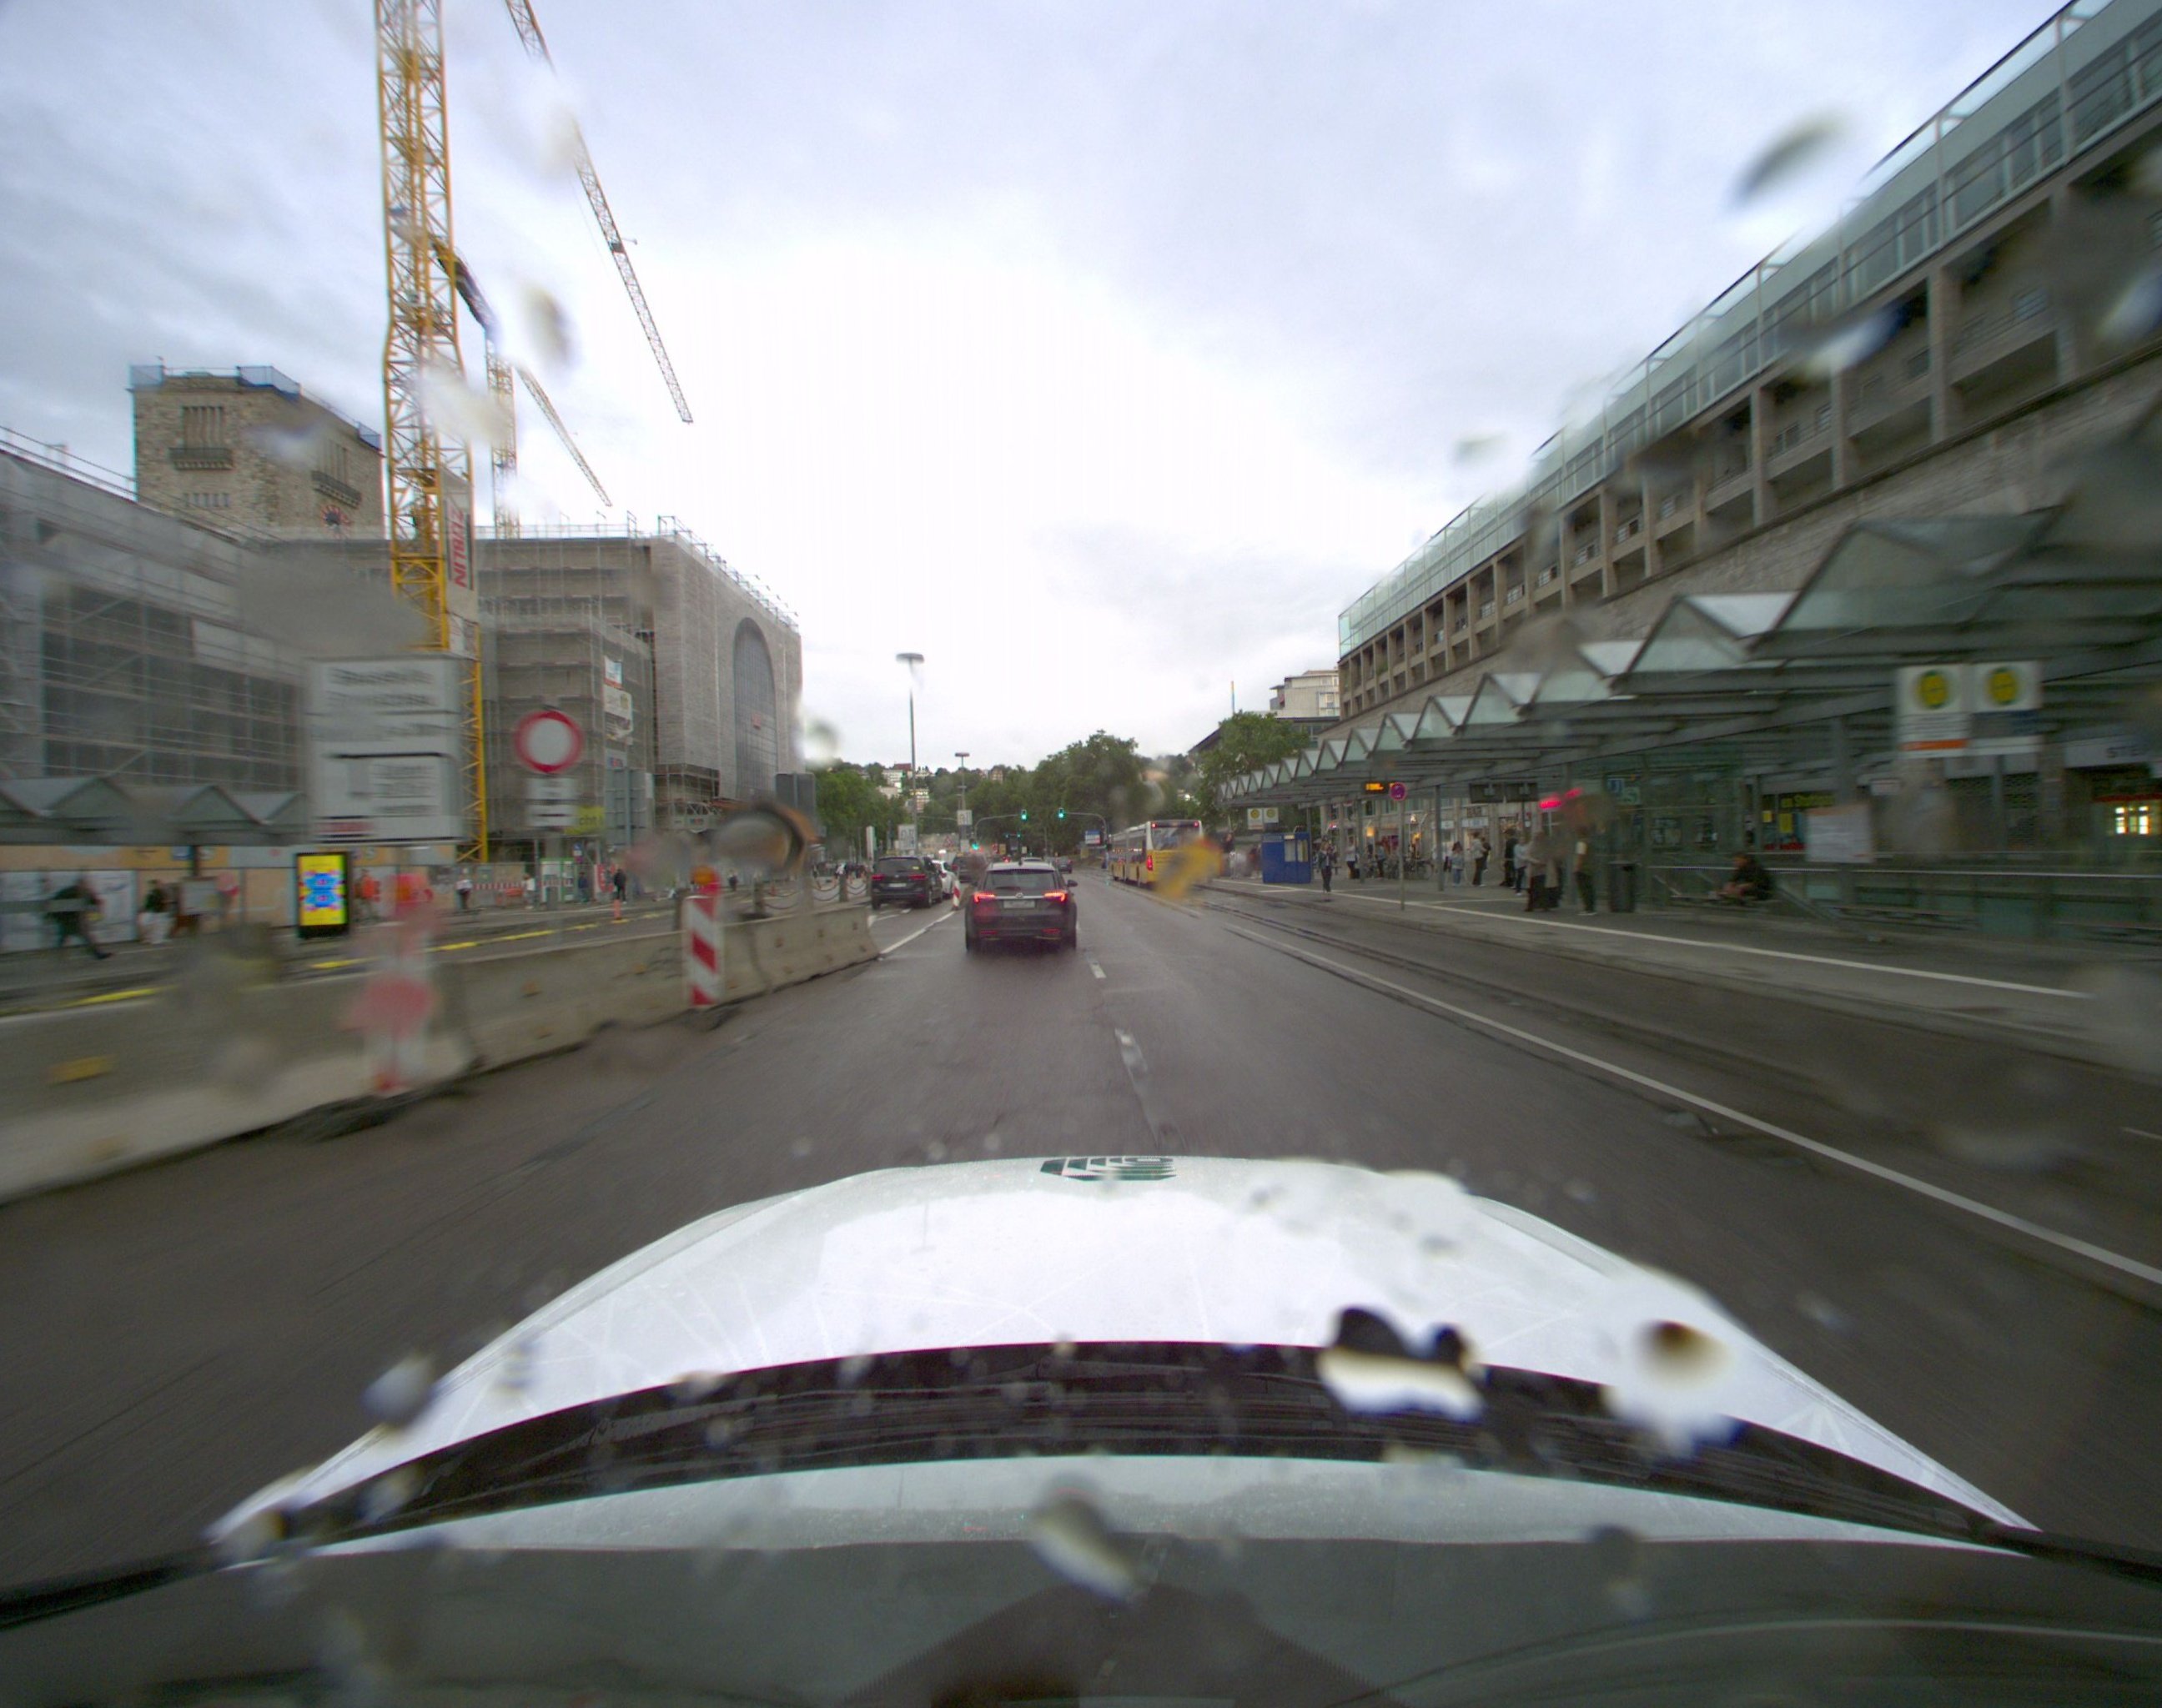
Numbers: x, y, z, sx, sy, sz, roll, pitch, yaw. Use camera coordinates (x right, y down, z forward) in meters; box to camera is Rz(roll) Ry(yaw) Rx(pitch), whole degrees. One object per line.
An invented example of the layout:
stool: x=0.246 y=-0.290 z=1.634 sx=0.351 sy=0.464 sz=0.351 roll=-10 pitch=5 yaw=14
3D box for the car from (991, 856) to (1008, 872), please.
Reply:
car: x=-10.243 y=1.264 z=101.635 sx=1.992 sy=1.845 sz=5.050 roll=-1 pitch=-1 yaw=-7

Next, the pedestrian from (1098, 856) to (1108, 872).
pedestrian: x=2.435 y=1.119 z=91.246 sx=0.788 sy=1.838 sz=0.944 roll=-2 pitch=0 yaw=-18

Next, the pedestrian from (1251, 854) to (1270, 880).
pedestrian: x=12.734 y=0.902 z=57.683 sx=0.996 sy=1.792 sz=0.781 roll=-2 pitch=-1 yaw=-32

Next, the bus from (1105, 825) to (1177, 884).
bus: x=3.426 y=0.066 z=49.088 sx=3.106 sy=3.205 sz=9.230 roll=-1 pitch=-1 yaw=-3

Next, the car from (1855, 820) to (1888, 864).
car: x=27.943 y=-0.425 z=28.786 sx=0.587 sy=1.539 sz=0.567 roll=-1 pitch=-1 yaw=0

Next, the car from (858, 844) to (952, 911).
car: x=-5.529 y=0.695 z=26.251 sx=1.988 sy=1.862 sz=4.830 roll=-2 pitch=0 yaw=-1

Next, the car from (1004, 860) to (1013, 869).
car: x=-14.631 y=2.121 z=165.018 sx=1.704 sy=1.665 sz=3.697 roll=-1 pitch=-1 yaw=-7

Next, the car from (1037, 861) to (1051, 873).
car: x=-5.581 y=1.948 z=123.534 sx=1.901 sy=1.717 sz=3.993 roll=-1 pitch=-1 yaw=-5

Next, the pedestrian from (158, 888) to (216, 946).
pedestrian: x=-25.013 y=1.753 z=22.810 sx=0.802 sy=1.547 sz=0.700 roll=-1 pitch=0 yaw=-8

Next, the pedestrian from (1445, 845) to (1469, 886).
pedestrian: x=12.780 y=0.390 z=27.683 sx=0.551 sy=1.377 sz=0.507 roll=-1 pitch=0 yaw=-8

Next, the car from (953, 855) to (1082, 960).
car: x=-0.977 y=0.803 z=14.499 sx=1.872 sy=1.508 sz=4.849 roll=-2 pitch=0 yaw=-1

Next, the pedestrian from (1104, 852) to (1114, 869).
pedestrian: x=3.032 y=0.739 z=88.305 sx=0.747 sy=1.804 sz=0.705 roll=-2 pitch=-1 yaw=-19

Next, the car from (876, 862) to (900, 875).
car: x=-23.023 y=1.759 z=97.311 sx=1.989 sy=1.468 sz=3.996 roll=-1 pitch=-1 yaw=-3

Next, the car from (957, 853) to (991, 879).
car: x=-7.509 y=0.836 z=57.690 sx=2.046 sy=1.711 sz=5.047 roll=-2 pitch=0 yaw=-4

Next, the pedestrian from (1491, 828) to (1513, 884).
pedestrian: x=14.222 y=0.078 z=27.527 sx=0.590 sy=1.874 sz=0.595 roll=-2 pitch=0 yaw=30

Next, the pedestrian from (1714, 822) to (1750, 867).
pedestrian: x=25.301 y=-0.354 z=31.651 sx=0.757 sy=1.710 sz=0.752 roll=-1 pitch=0 yaw=-2

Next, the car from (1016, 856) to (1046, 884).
car: x=-3.218 y=0.981 z=52.606 sx=1.827 sy=1.686 sz=4.128 roll=-2 pitch=0 yaw=-4

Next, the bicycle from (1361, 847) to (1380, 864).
bicycle: x=22.766 y=0.119 z=64.075 sx=0.657 sy=1.255 sz=2.012 roll=-2 pitch=0 yaw=-1

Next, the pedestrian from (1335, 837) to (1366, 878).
pedestrian: x=12.243 y=0.178 z=37.023 sx=0.791 sy=1.804 sz=0.983 roll=-2 pitch=-1 yaw=-31

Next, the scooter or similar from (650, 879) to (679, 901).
scooter or similar: x=-21.342 y=1.857 z=41.742 sx=0.454 sy=1.066 sz=1.248 roll=-2 pitch=0 yaw=32

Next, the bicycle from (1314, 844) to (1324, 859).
bicycle: x=27.549 y=-0.307 z=94.272 sx=0.613 sy=1.634 sz=1.998 roll=-2 pitch=0 yaw=5

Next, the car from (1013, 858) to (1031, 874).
car: x=-7.443 y=1.507 z=102.398 sx=1.981 sy=2.014 sz=4.360 roll=-1 pitch=-1 yaw=-6

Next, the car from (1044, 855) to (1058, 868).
car: x=-3.584 y=0.881 z=96.856 sx=1.671 sy=1.581 sz=3.235 roll=-1 pitch=-1 yaw=-4

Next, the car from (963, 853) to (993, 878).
car: x=-7.909 y=0.862 z=62.750 sx=1.990 sy=1.787 sz=4.446 roll=-2 pitch=0 yaw=-5

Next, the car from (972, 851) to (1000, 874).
car: x=-7.949 y=0.708 z=68.561 sx=1.990 sy=1.787 sz=4.840 roll=-2 pitch=0 yaw=-4

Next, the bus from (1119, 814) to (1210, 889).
bus: x=3.854 y=-0.061 z=39.940 sx=3.134 sy=3.247 sz=9.126 roll=-1 pitch=-1 yaw=-2

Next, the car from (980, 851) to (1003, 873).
car: x=-8.125 y=0.708 z=74.210 sx=1.710 sy=1.892 sz=4.604 roll=-2 pitch=0 yaw=-3

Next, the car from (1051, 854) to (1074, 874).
car: x=-1.698 y=0.880 z=73.392 sx=1.849 sy=1.717 sz=3.993 roll=-1 pitch=-1 yaw=-5

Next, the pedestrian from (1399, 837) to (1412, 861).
pedestrian: x=24.369 y=-0.351 z=61.195 sx=0.650 sy=1.792 sz=0.789 roll=-2 pitch=0 yaw=1

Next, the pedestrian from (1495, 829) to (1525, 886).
pedestrian: x=13.906 y=0.108 z=26.386 sx=0.609 sy=1.831 sz=0.587 roll=-1 pitch=0 yaw=-32

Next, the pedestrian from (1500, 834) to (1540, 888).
pedestrian: x=13.535 y=0.219 z=25.129 sx=0.750 sy=1.608 sz=0.760 roll=-1 pitch=0 yaw=-7

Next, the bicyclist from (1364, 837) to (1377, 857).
bicyclist: x=22.736 y=-0.520 z=63.935 sx=0.648 sy=1.554 sz=0.907 roll=-2 pitch=-1 yaw=-1

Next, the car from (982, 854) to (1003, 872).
car: x=-8.676 y=0.841 z=80.280 sx=1.782 sy=1.685 sz=4.661 roll=-2 pitch=0 yaw=-3

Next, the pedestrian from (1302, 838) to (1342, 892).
pedestrian: x=7.795 y=0.361 z=26.360 sx=0.763 sy=1.690 sz=0.991 roll=-1 pitch=0 yaw=-23

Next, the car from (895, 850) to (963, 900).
car: x=-5.757 y=0.751 z=31.439 sx=1.990 sy=1.706 sz=4.825 roll=-2 pitch=0 yaw=-4

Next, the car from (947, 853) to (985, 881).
car: x=-7.199 y=0.792 z=51.273 sx=1.990 sy=1.654 sz=4.634 roll=-2 pitch=0 yaw=-4

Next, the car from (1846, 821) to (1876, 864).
car: x=28.169 y=-0.422 z=29.424 sx=0.587 sy=1.539 sz=0.471 roll=-1 pitch=-1 yaw=0

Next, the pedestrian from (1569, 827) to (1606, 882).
pedestrian: x=17.229 y=0.020 z=27.708 sx=0.764 sy=1.831 sz=0.745 roll=-1 pitch=0 yaw=-32

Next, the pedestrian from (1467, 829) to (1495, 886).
pedestrian: x=13.376 y=0.108 z=27.251 sx=0.603 sy=1.859 sz=0.626 roll=-1 pitch=0 yaw=6

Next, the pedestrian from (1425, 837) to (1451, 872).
pedestrian: x=17.856 y=0.015 z=40.744 sx=0.975 sy=1.695 sz=0.863 roll=-2 pitch=0 yaw=38
